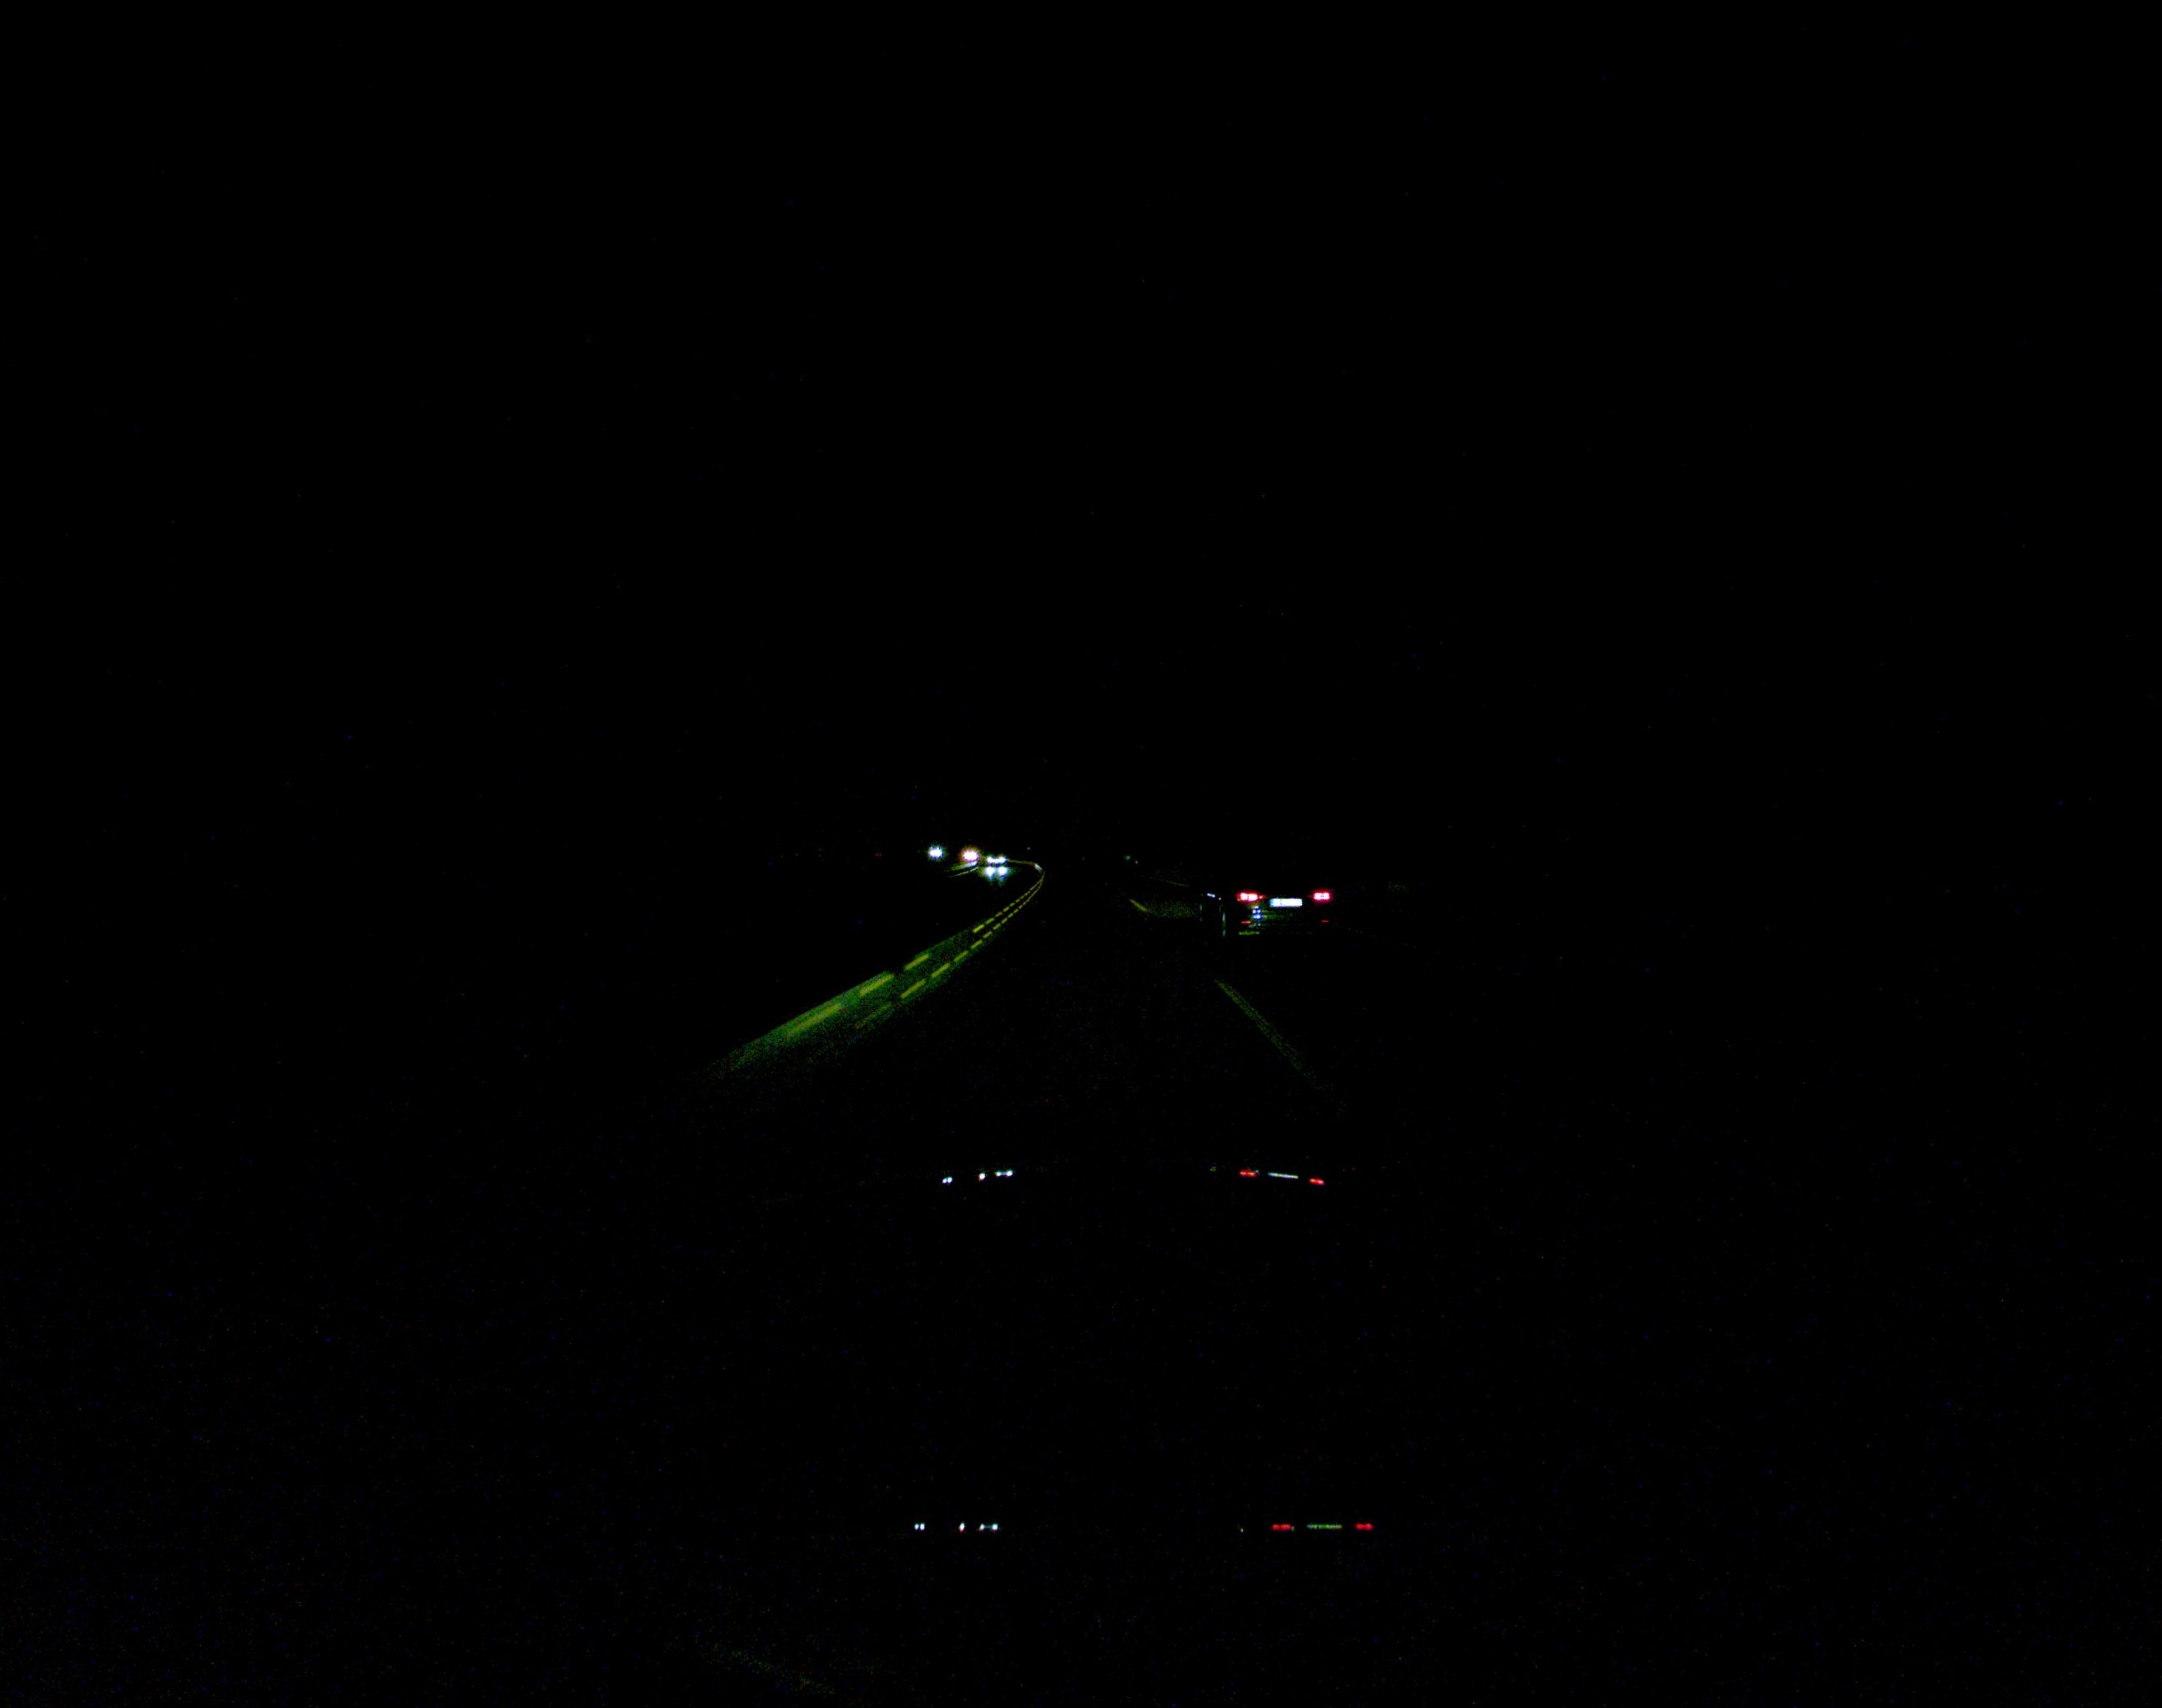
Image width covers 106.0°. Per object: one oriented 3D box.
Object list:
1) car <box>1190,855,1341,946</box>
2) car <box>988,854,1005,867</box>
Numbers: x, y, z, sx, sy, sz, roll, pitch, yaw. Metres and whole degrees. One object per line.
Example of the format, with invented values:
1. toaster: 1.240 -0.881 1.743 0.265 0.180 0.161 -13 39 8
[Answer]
1. car: 3.287 0.749 15.486 1.802 1.426 4.875 -1 0 1
2. car: -10.697 0.860 103.146 2.011 1.639 4.851 -1 -1 -7
